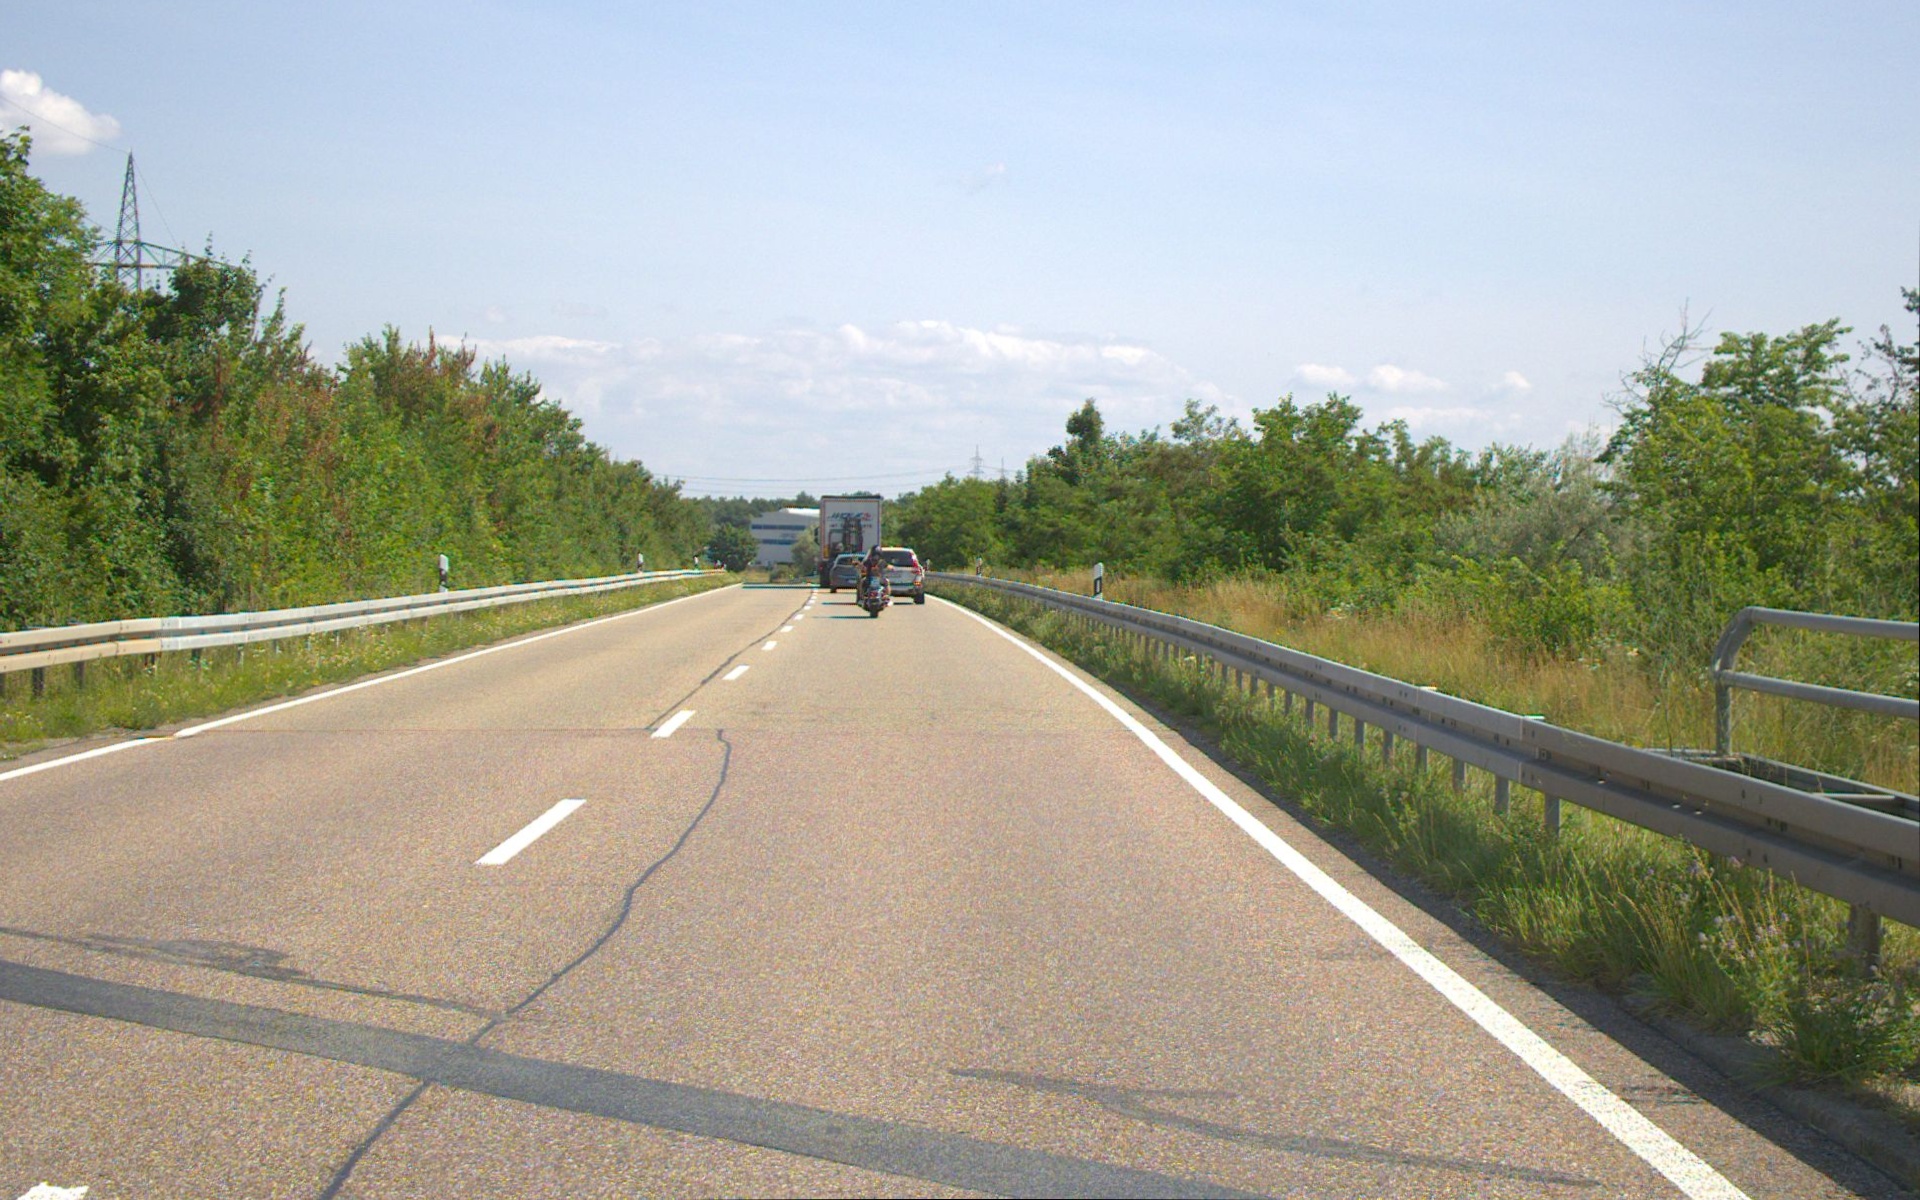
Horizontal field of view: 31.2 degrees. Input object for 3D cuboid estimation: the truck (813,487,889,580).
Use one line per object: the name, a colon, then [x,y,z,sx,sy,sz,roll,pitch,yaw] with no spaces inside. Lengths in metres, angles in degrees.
truck: [-4.923,-2.970,153.381,3.241,3.965,9.445,0,1,-3]

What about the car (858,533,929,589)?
car: [-1.841,-1.087,94.402,1.825,1.446,4.001,0,2,-3]

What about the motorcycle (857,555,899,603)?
motorcycle: [-1.759,-0.462,73.686,0.780,0.972,2.361,1,2,1]

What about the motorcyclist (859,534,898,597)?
motorcyclist: [-1.745,-0.743,73.698,0.780,1.321,0.813,1,2,1]

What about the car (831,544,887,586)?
car: [-3.701,-1.299,126.251,1.866,1.415,4.000,1,2,1]
